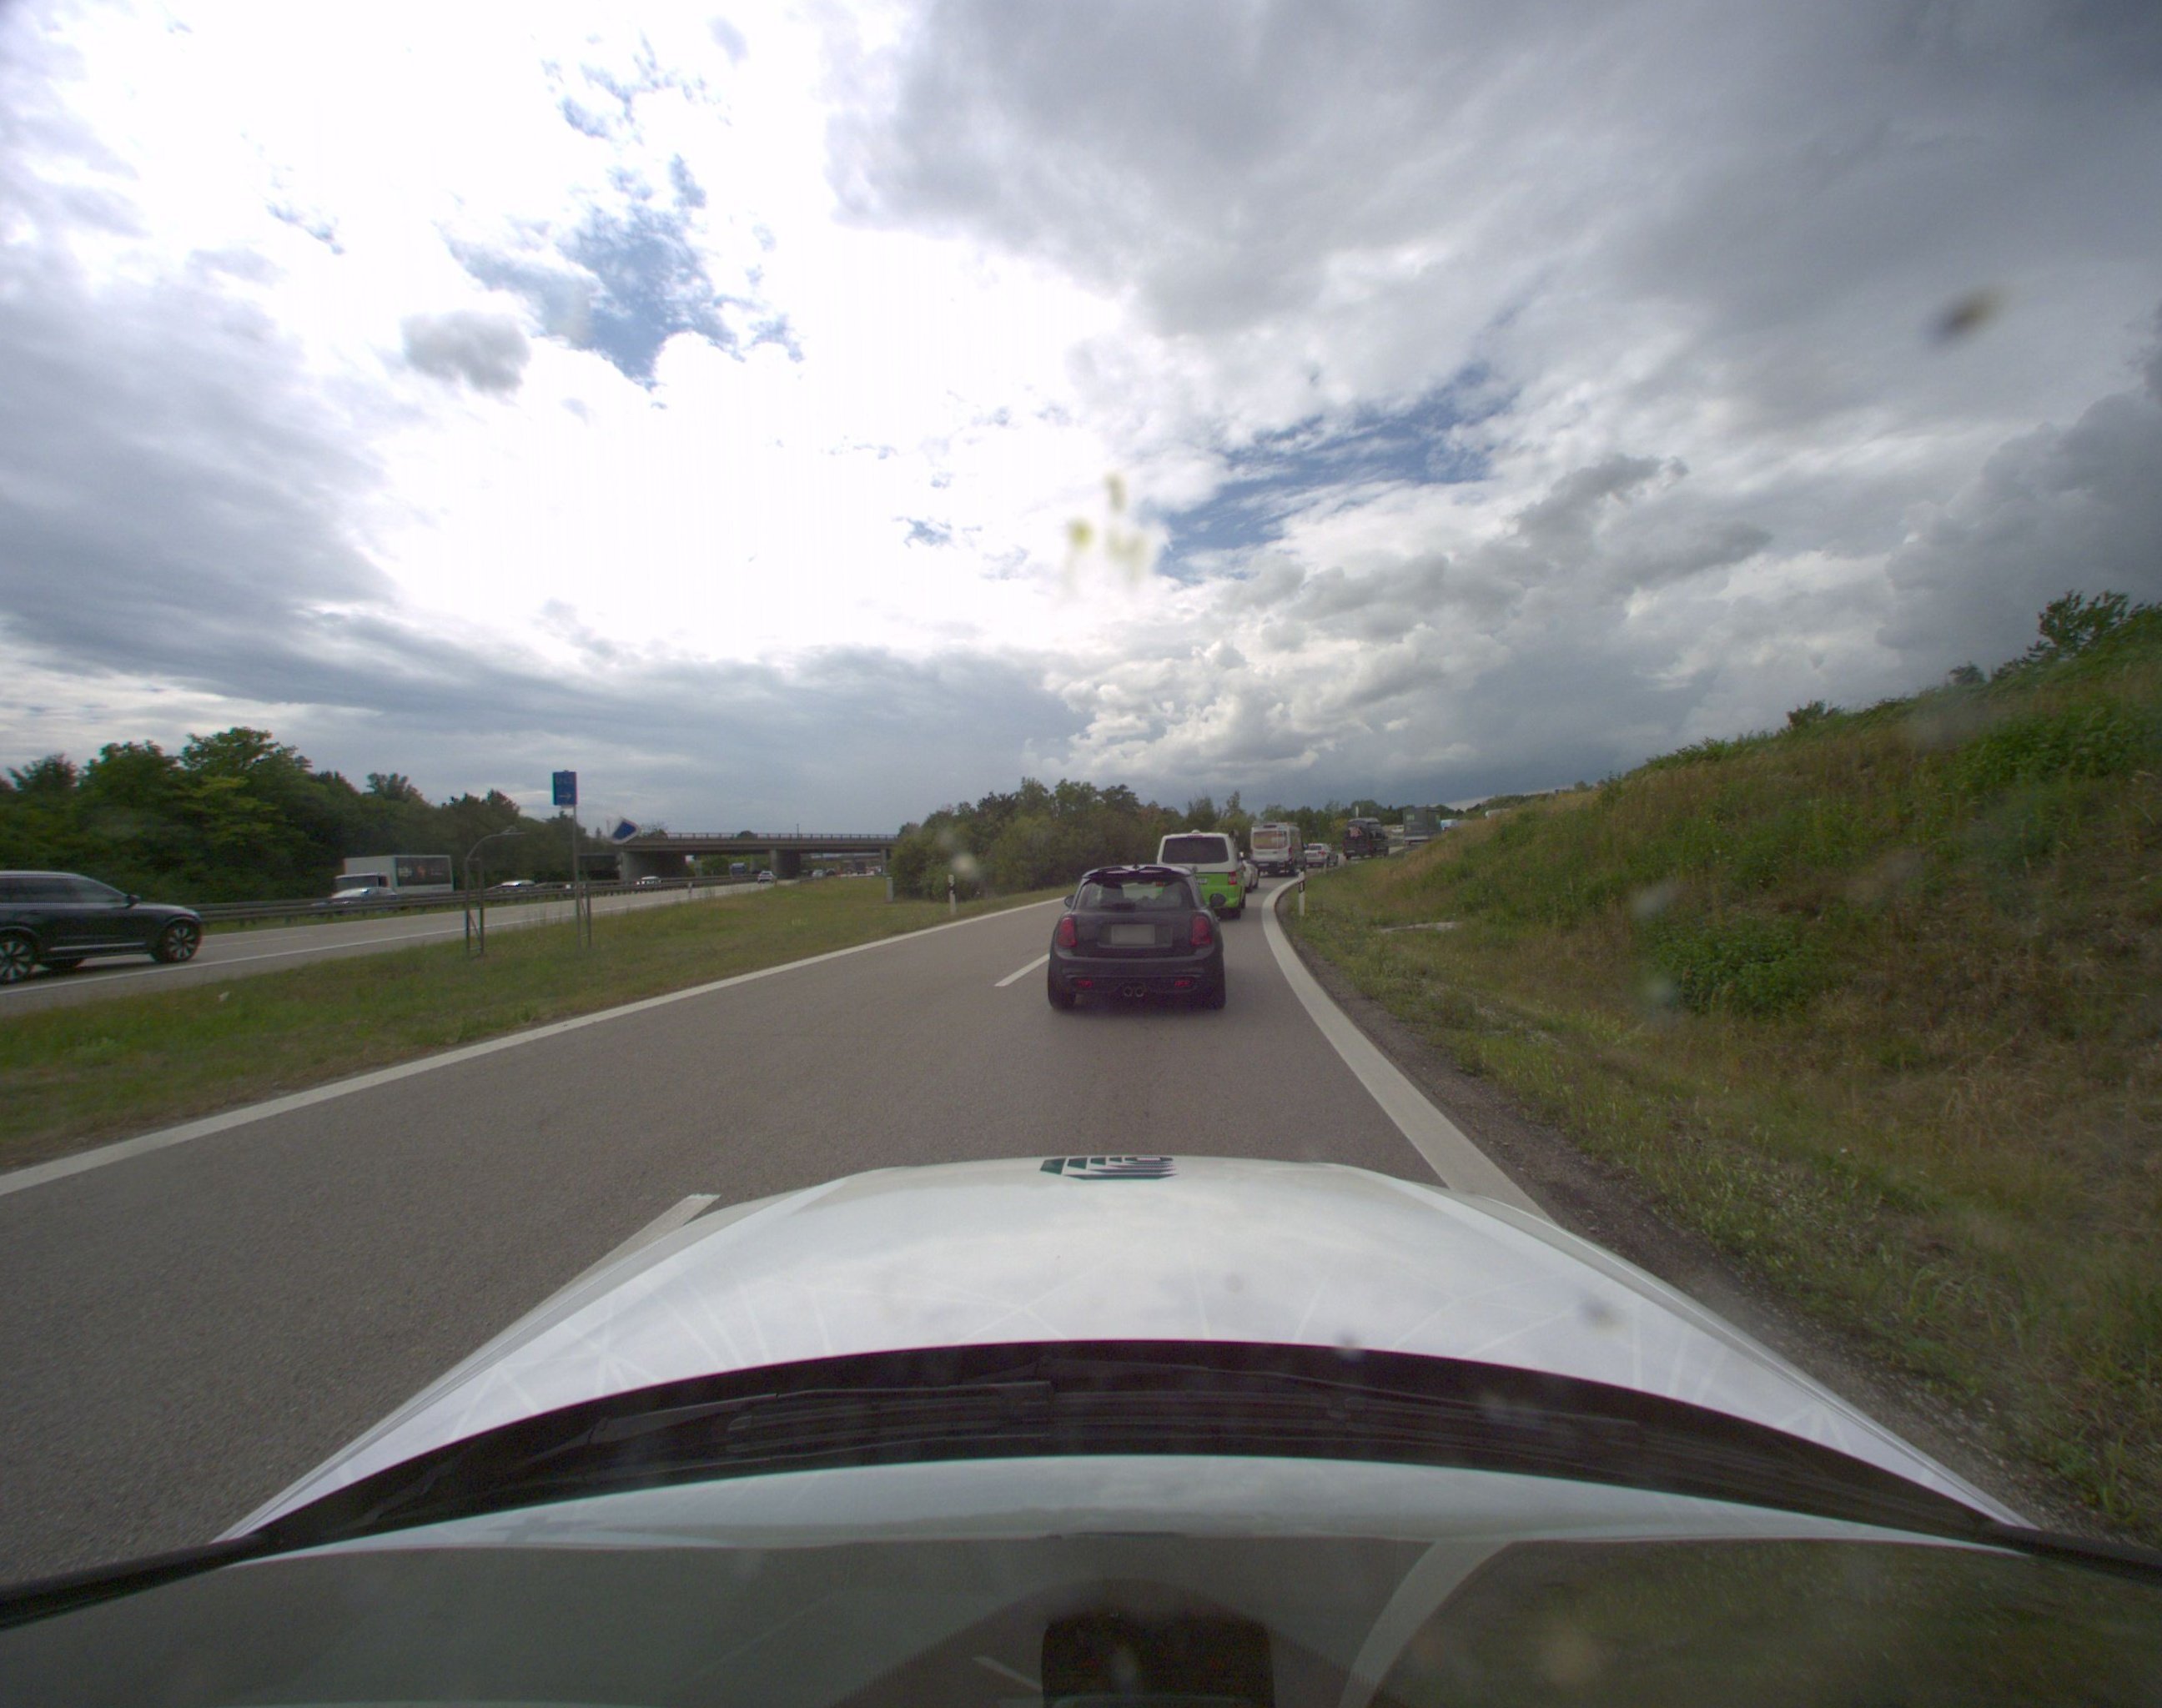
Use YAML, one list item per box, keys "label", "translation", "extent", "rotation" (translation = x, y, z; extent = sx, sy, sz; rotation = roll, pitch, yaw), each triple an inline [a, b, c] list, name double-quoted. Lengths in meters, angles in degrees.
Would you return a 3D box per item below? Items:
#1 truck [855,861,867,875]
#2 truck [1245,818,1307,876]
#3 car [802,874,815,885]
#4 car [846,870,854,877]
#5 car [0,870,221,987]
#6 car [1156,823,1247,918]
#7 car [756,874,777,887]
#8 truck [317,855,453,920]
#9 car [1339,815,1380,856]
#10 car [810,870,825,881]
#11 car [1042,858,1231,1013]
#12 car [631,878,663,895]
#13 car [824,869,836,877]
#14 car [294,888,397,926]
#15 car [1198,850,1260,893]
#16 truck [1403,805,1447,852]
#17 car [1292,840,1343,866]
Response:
- label: "truck"
  translation: [-58.296, 3.773, 216.038]
  extent: [2.470, 3.371, 7.889]
  rotation: [-2, -1, -12]
- label: "truck"
  translation: [9.772, -0.335, 40.463]
  extent: [2.159, 2.658, 5.136]
  rotation: [-2, 0, 22]
- label: "car"
  translation: [-49.414, 4.616, 147.478]
  extent: [1.997, 2.014, 3.978]
  rotation: [0, -2, -16]
- label: "car"
  translation: [-64.970, 5.525, 229.210]
  extent: [1.847, 1.758, 4.317]
  rotation: [-2, -1, -13]
- label: "car"
  translation: [-17.681, 1.197, 13.640]
  extent: [1.995, 1.761, 4.905]
  rotation: [-2, -1, -11]
- label: "car"
  translation: [2.975, 0.381, 19.442]
  extent: [1.771, 2.014, 4.015]
  rotation: [-1, -1, 13]
- label: "car"
  translation: [-39.667, 3.338, 102.879]
  extent: [1.838, 1.453, 4.358]
  rotation: [-2, -1, -14]
- label: "truck"
  translation: [-42.982, 1.977, 50.700]
  extent: [2.761, 3.646, 8.162]
  rotation: [-2, -1, -12]
- label: "car"
  translation: [19.769, -1.258, 57.685]
  extent: [2.085, 2.796, 4.024]
  rotation: [-1, 0, 28]
- label: "car"
  translation: [-39.730, 3.236, 122.897]
  extent: [1.719, 1.519, 3.981]
  rotation: [-2, -1, -14]
- label: "car"
  translation: [0.659, 0.778, 9.380]
  extent: [1.719, 1.413, 3.729]
  rotation: [-1, -1, 4]
- label: "car"
  translation: [-44.341, 3.291, 83.361]
  extent: [1.875, 1.574, 3.981]
  rotation: [-2, -1, -13]
- label: "car"
  translation: [-55.372, 4.218, 179.701]
  extent: [1.995, 1.743, 4.808]
  rotation: [-2, -1, -12]
- label: "car"
  translation: [-36.111, 2.570, 40.155]
  extent: [1.995, 1.629, 3.983]
  rotation: [-2, -1, -12]
- label: "car"
  translation: [5.382, 0.601, 29.231]
  extent: [1.748, 1.399, 3.741]
  rotation: [-2, -1, 17]
- label: "truck"
  translation: [31.349, -2.252, 74.154]
  extent: [2.207, 3.907, 6.054]
  rotation: [-2, -2, 38]
- label: "car"
  translation: [14.291, -0.056, 49.050]
  extent: [1.848, 1.510, 4.025]
  rotation: [-2, -1, 33]
